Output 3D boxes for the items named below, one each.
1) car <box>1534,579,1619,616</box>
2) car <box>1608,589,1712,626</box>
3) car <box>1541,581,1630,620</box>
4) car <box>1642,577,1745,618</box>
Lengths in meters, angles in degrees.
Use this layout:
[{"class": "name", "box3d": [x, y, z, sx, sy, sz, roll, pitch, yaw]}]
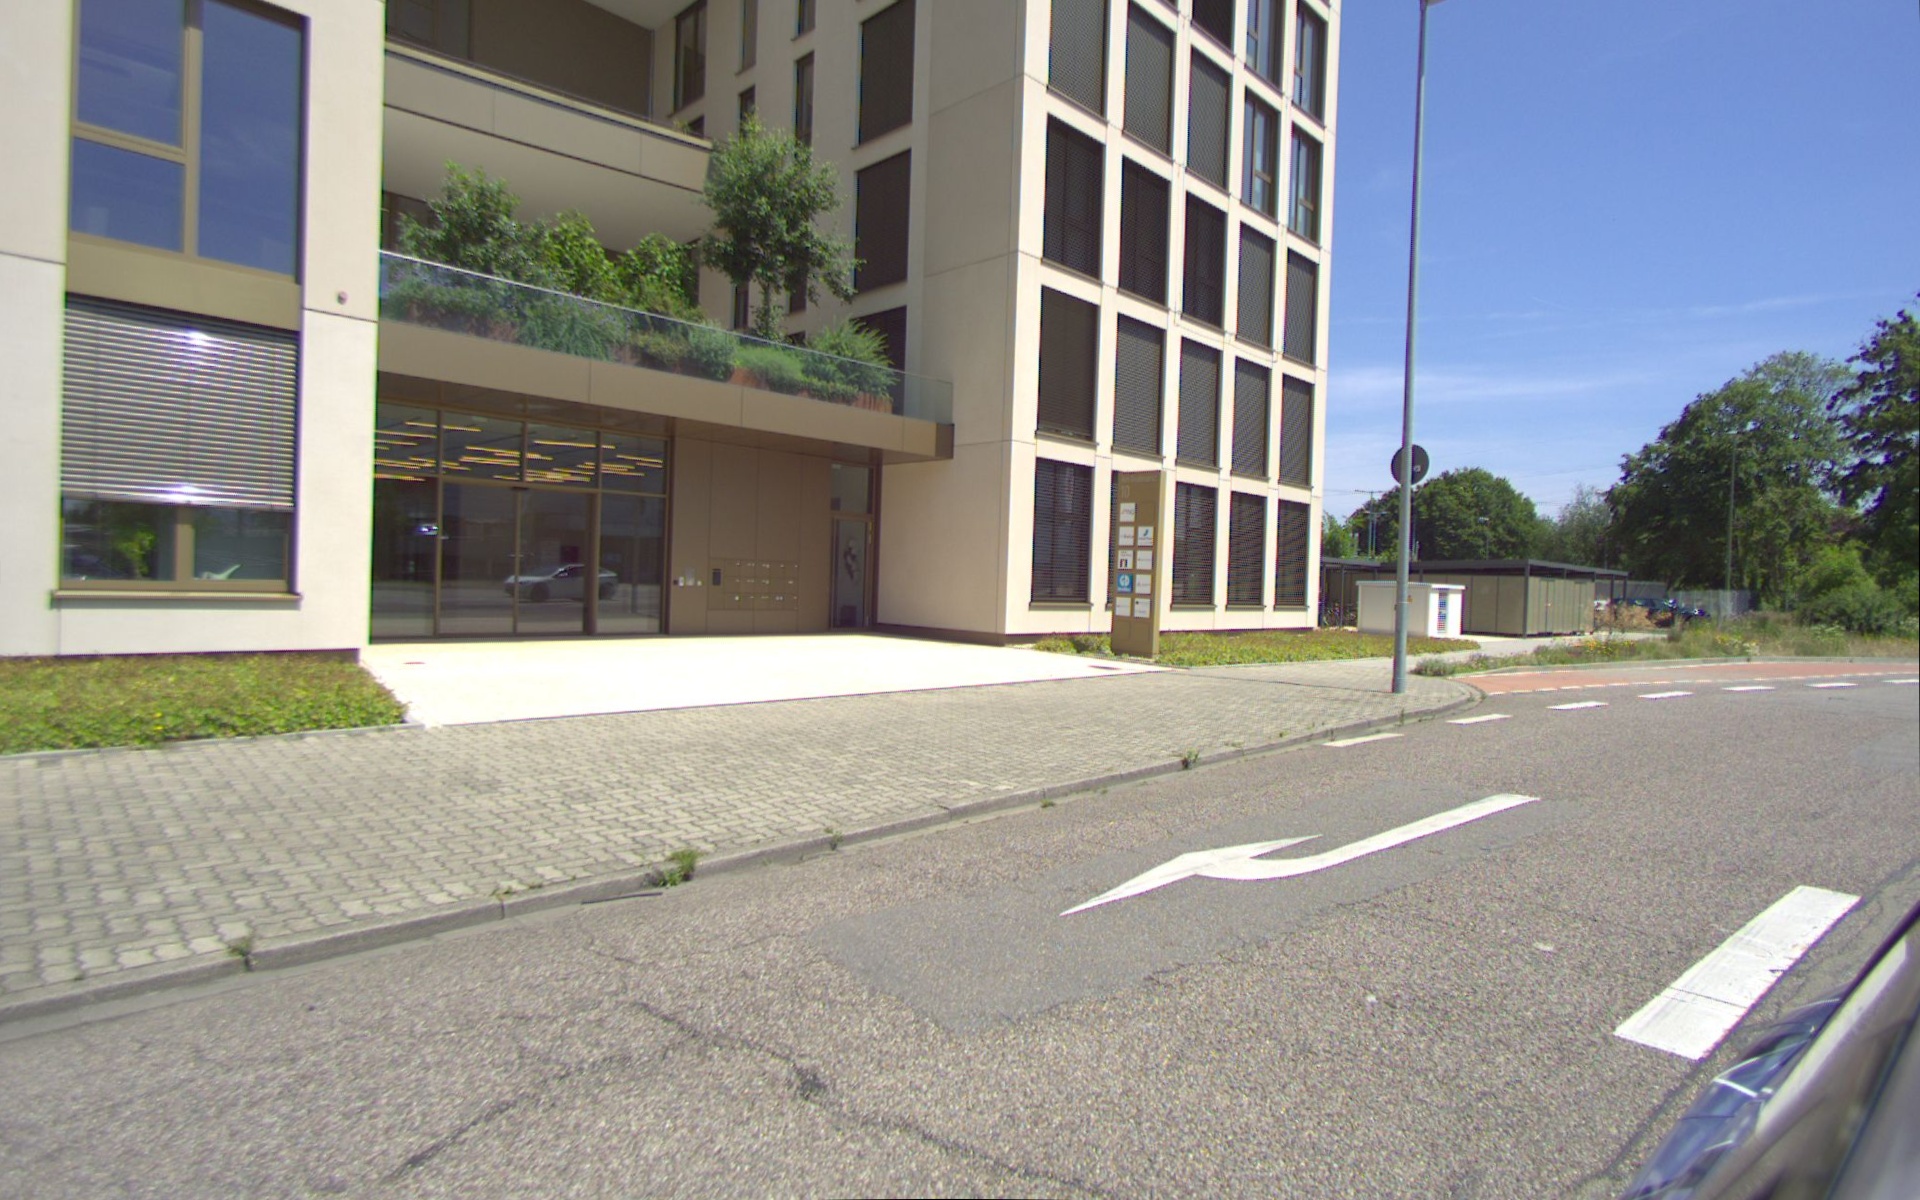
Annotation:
[{"class": "car", "box3d": [36.807, -0.157, 60.537, 3.950, 2.039, 1.987, 2, 1, 20]}, {"class": "car", "box3d": [35.383, 0.374, 51.249, 3.953, 1.682, 1.826, 2, 1, 22]}, {"class": "car", "box3d": [35.771, 0.011, 58.000, 3.950, 2.039, 1.987, 2, 1, 20]}, {"class": "car", "box3d": [38.708, -0.151, 53.530, 3.950, 1.977, 1.987, 2, 1, 20]}]
